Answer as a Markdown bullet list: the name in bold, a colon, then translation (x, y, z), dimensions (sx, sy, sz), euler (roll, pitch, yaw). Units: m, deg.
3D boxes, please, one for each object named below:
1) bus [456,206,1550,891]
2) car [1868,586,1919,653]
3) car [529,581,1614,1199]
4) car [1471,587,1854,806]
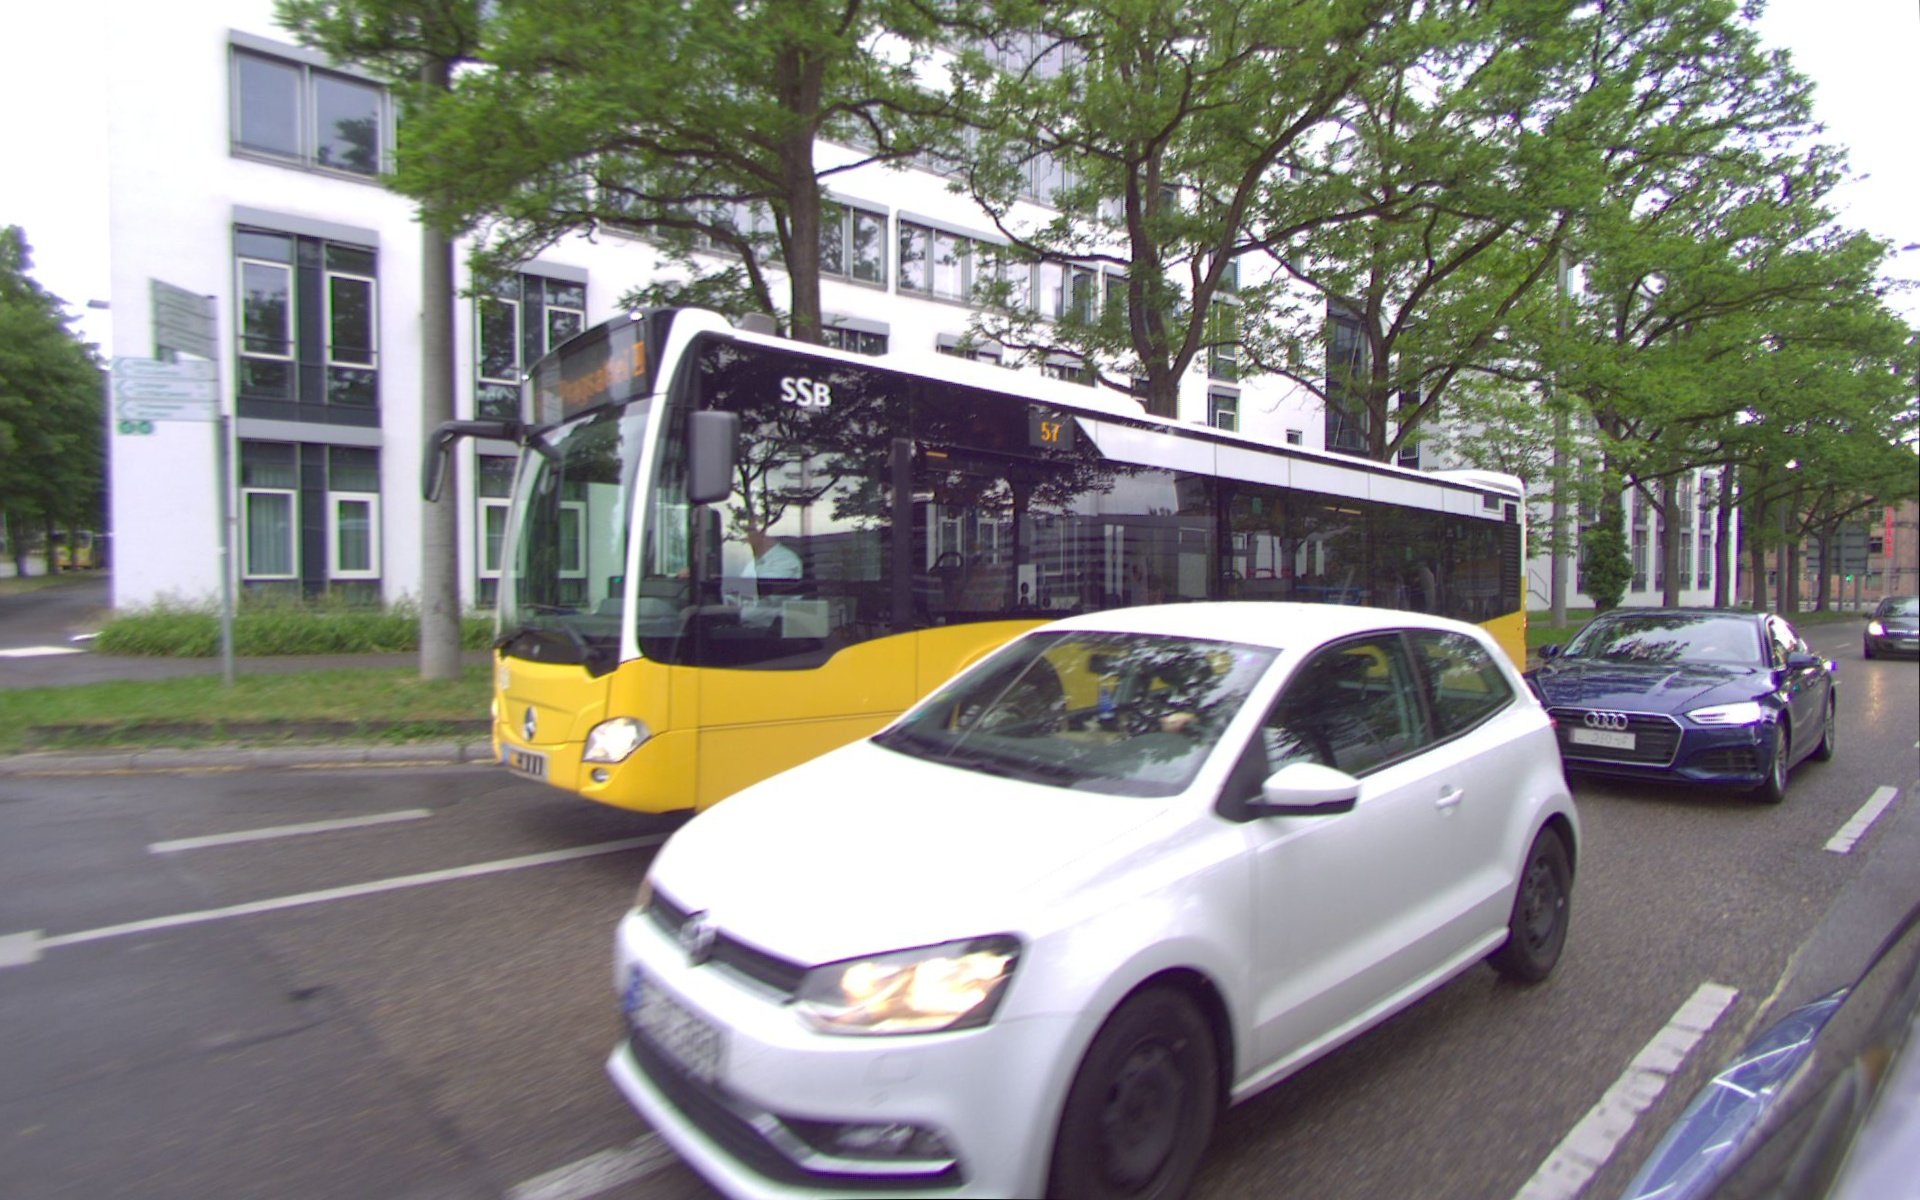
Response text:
- **bus**: translation (1.977, -0.229, 9.708), dimensions (11.934, 3.192, 2.731), euler (0, -1, -41)
- **car**: translation (22.569, 0.412, 23.499), dimensions (3.487, 1.453, 1.625), euler (-1, 0, -39)
- **car**: translation (0.692, 0.693, 3.597), dimensions (3.745, 1.450, 1.743), euler (-1, 0, -41)
- **car**: translation (6.184, 0.620, 8.692), dimensions (4.260, 1.371, 1.875), euler (-1, 0, -44)
